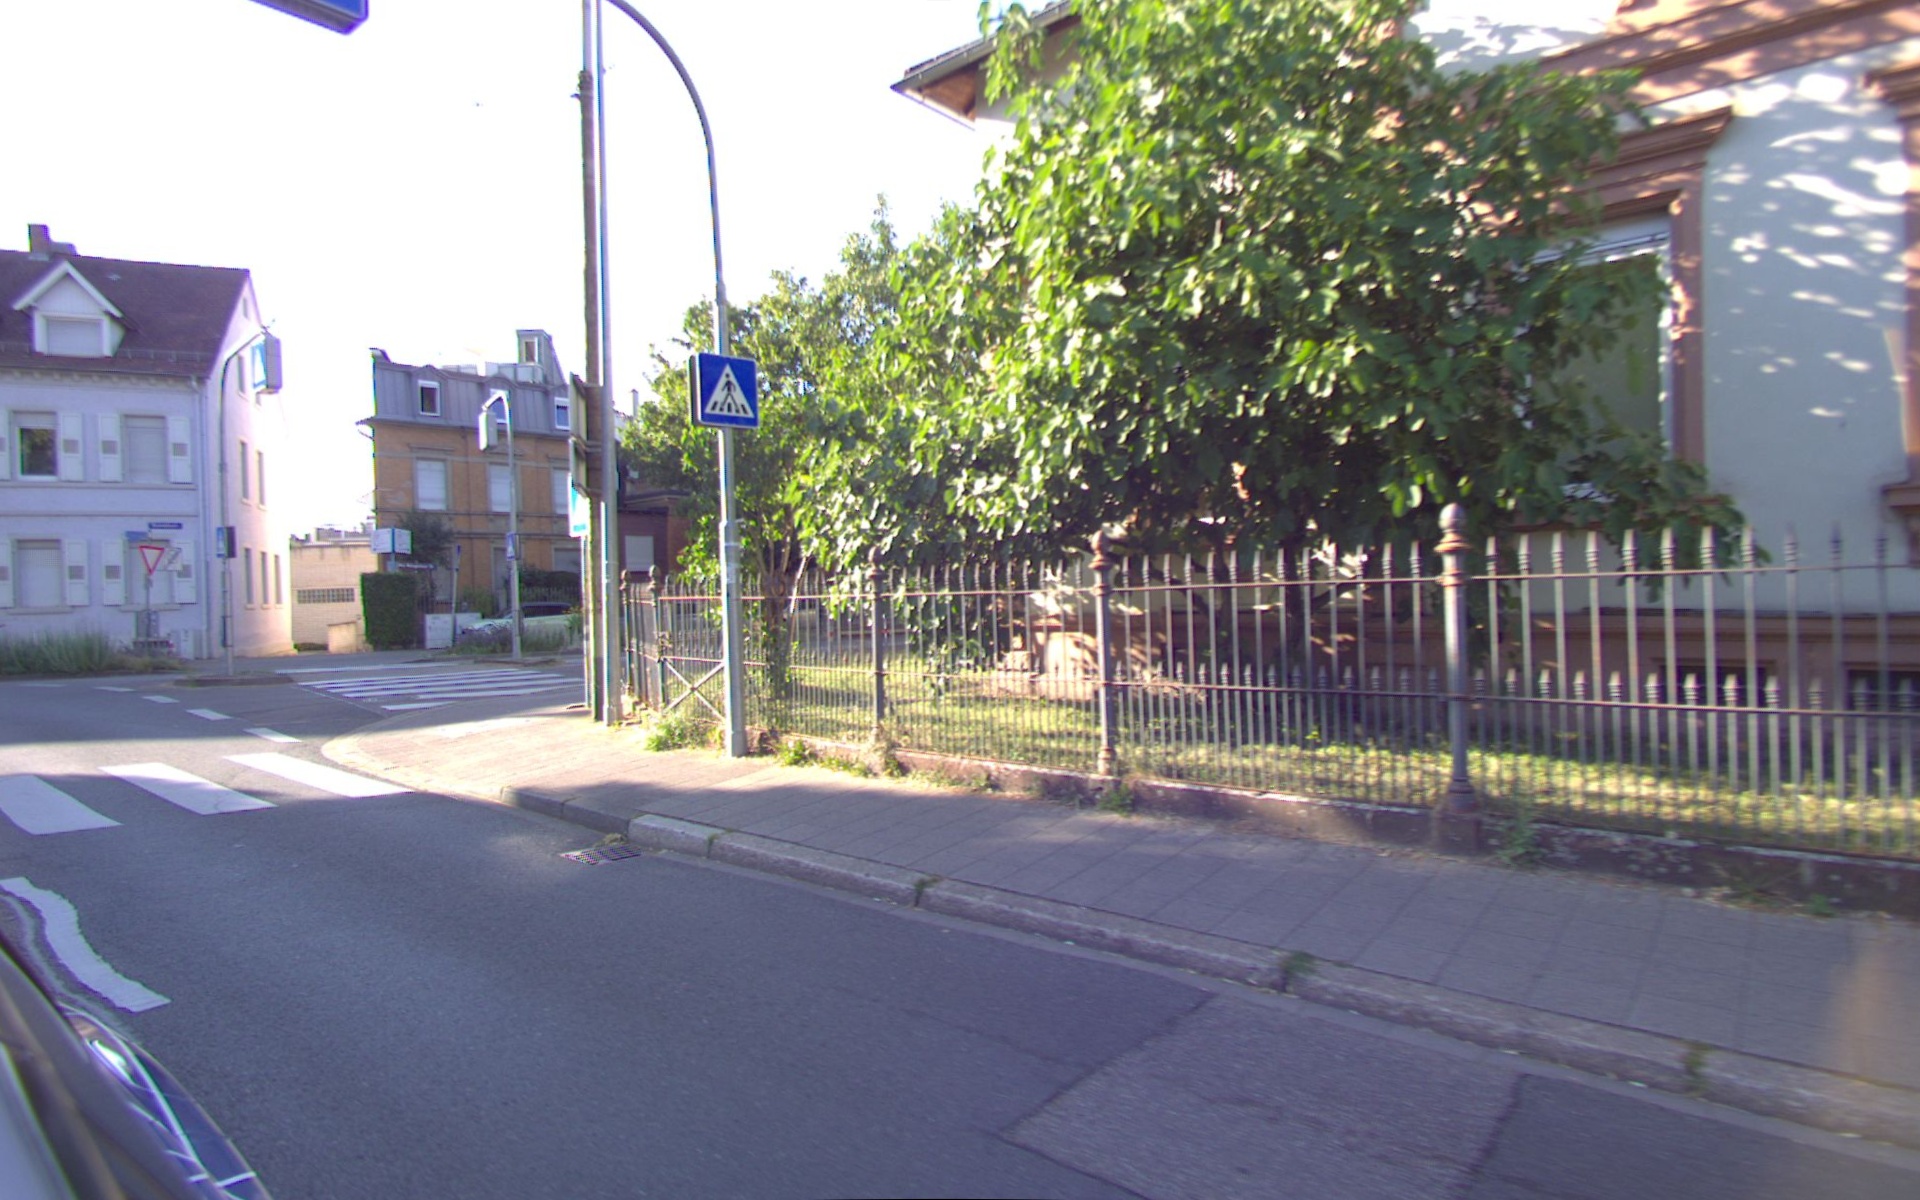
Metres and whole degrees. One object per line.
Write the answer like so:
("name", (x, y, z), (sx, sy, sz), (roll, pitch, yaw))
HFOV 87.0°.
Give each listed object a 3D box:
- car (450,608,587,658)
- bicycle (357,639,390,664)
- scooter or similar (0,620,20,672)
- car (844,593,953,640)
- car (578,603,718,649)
("car", (-14.681, 1.061, 33.786), (1.702, 1.465, 3.827), (-1, 0, 44))
("bicycle", (-28.622, 2.487, 49.449), (0.693, 1.090, 2.346), (-2, 0, -13))
("scooter or similar", (-26.677, 1.271, 27.260), (1.854, 1.376, 0.626), (-2, 1, -27))
("car", (-2.792, 0.724, 47.005), (1.930, 1.959, 5.027), (-1, 0, 44))
("car", (-11.303, 0.913, 36.917), (1.726, 1.465, 4.628), (-1, 1, 44))
